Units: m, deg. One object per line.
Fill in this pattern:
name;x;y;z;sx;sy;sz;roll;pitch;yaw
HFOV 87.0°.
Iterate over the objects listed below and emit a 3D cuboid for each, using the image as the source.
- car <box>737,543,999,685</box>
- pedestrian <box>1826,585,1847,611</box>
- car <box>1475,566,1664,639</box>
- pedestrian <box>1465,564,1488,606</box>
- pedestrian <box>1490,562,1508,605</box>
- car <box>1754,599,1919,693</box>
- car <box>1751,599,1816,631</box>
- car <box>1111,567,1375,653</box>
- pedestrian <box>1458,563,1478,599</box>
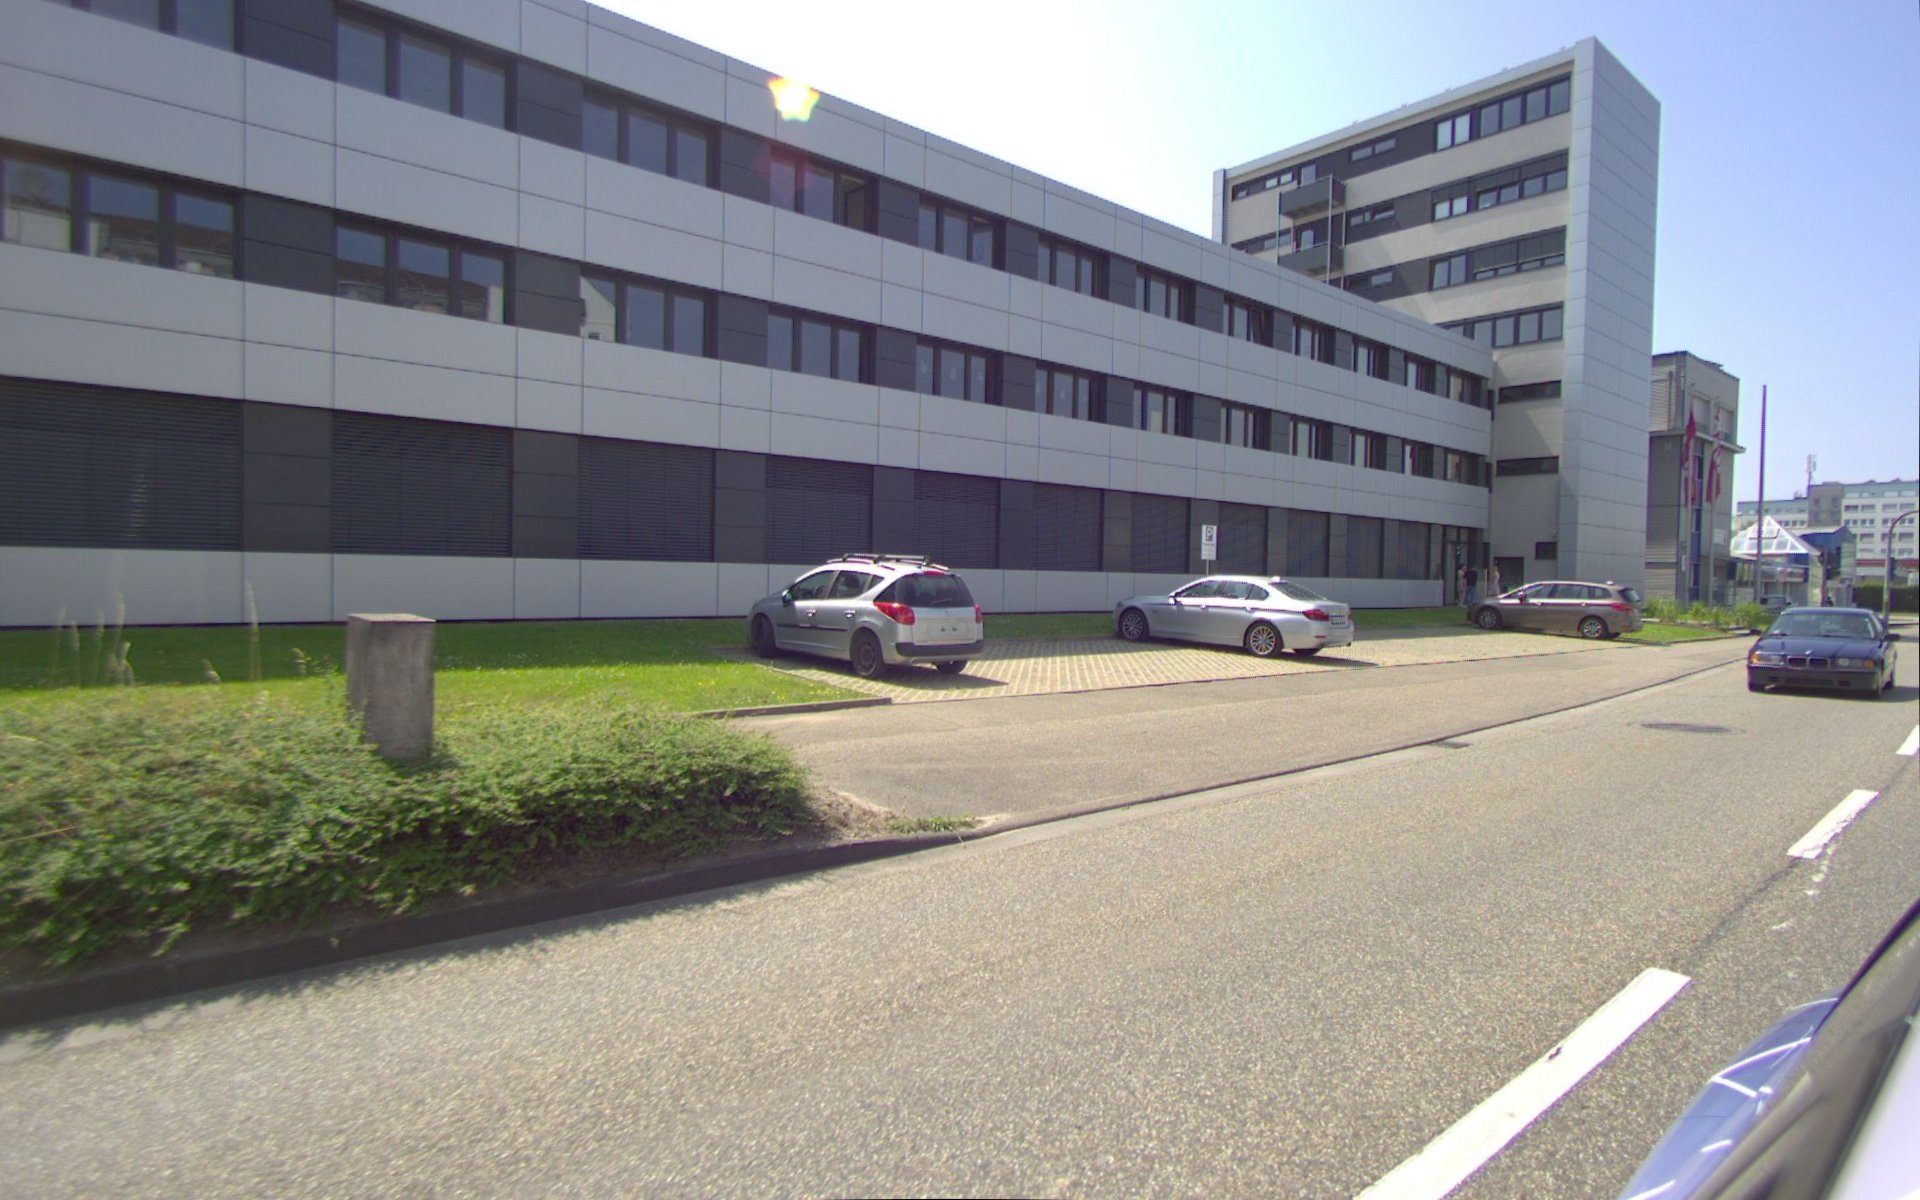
car;-1.415;0.083;14.385;1.703;1.611;3.819;0;5;-43
pedestrian;56.669;-0.134;65.430;0.837;1.647;0.813;0;2;-36
car;17.645;-0.005;29.452;1.967;1.709;4.267;-1;5;-43
pedestrian;20.372;-0.596;39.911;0.513;1.654;0.595;1;2;-31
pedestrian;21.495;-0.647;40.338;0.519;1.683;0.748;2;2;33
car;14.512;0.673;16.635;3.691;1.356;1.631;0;0;-41
car;43.009;0.746;52.843;4.121;1.550;1.848;0;0;-39
car;5.400;0.108;19.764;1.967;1.407;4.619;-1;3;-43
pedestrian;20.647;-0.764;41.127;0.521;1.423;0.788;3;2;41
